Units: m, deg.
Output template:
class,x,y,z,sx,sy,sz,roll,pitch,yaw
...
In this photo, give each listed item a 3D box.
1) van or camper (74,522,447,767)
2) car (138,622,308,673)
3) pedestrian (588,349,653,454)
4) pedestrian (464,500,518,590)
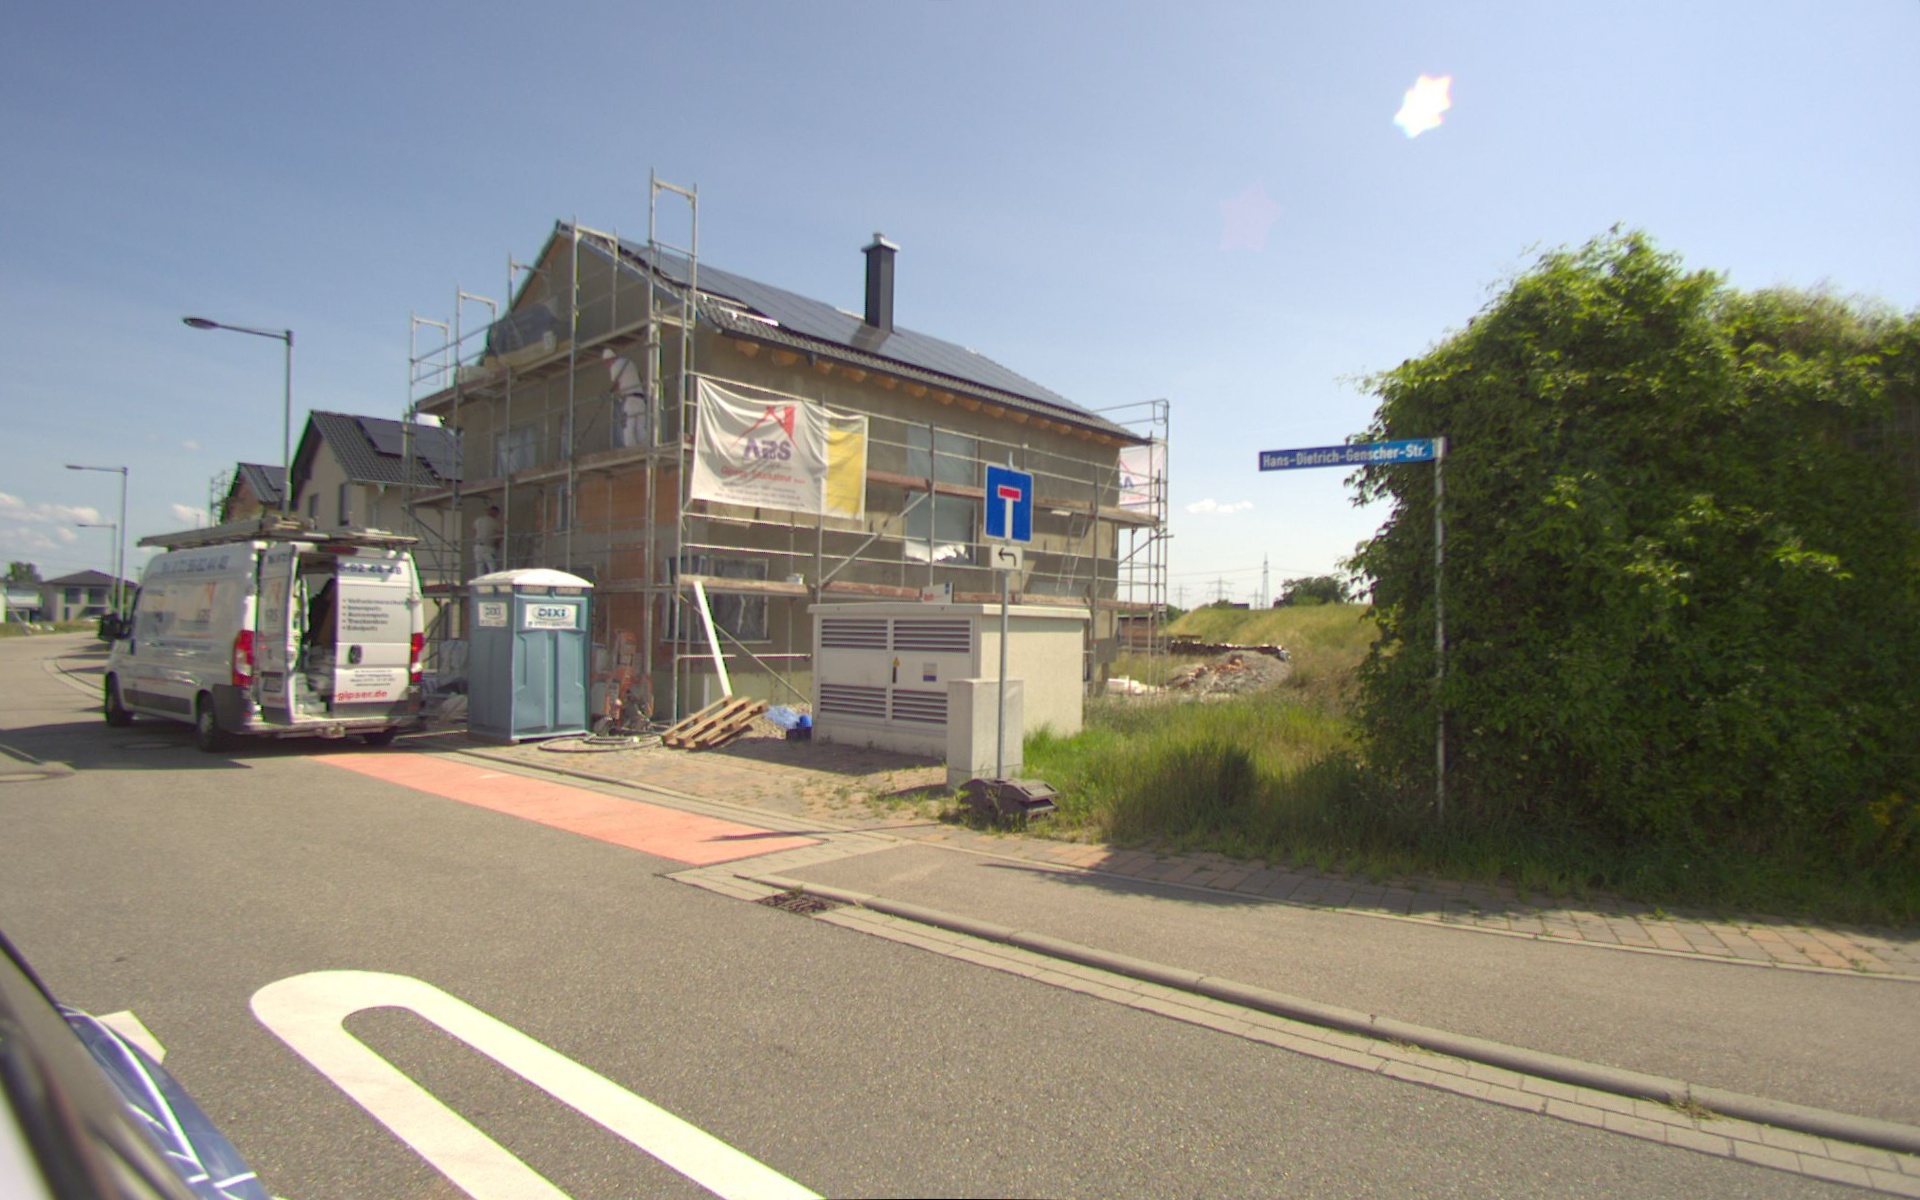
class,x,y,z,sx,sy,sz,roll,pitch,yaw
van or camper,-9.534,0.504,13.521,6.358,2.573,2.251,0,-2,38
car,-25.062,1.613,34.510,2.001,1.624,4.375,-2,-3,44
pedestrian,-5.261,-3.070,15.704,0.739,1.511,0.562,2,-1,7
pedestrian,-9.252,-1.071,19.963,0.578,1.692,0.738,1,-1,40
